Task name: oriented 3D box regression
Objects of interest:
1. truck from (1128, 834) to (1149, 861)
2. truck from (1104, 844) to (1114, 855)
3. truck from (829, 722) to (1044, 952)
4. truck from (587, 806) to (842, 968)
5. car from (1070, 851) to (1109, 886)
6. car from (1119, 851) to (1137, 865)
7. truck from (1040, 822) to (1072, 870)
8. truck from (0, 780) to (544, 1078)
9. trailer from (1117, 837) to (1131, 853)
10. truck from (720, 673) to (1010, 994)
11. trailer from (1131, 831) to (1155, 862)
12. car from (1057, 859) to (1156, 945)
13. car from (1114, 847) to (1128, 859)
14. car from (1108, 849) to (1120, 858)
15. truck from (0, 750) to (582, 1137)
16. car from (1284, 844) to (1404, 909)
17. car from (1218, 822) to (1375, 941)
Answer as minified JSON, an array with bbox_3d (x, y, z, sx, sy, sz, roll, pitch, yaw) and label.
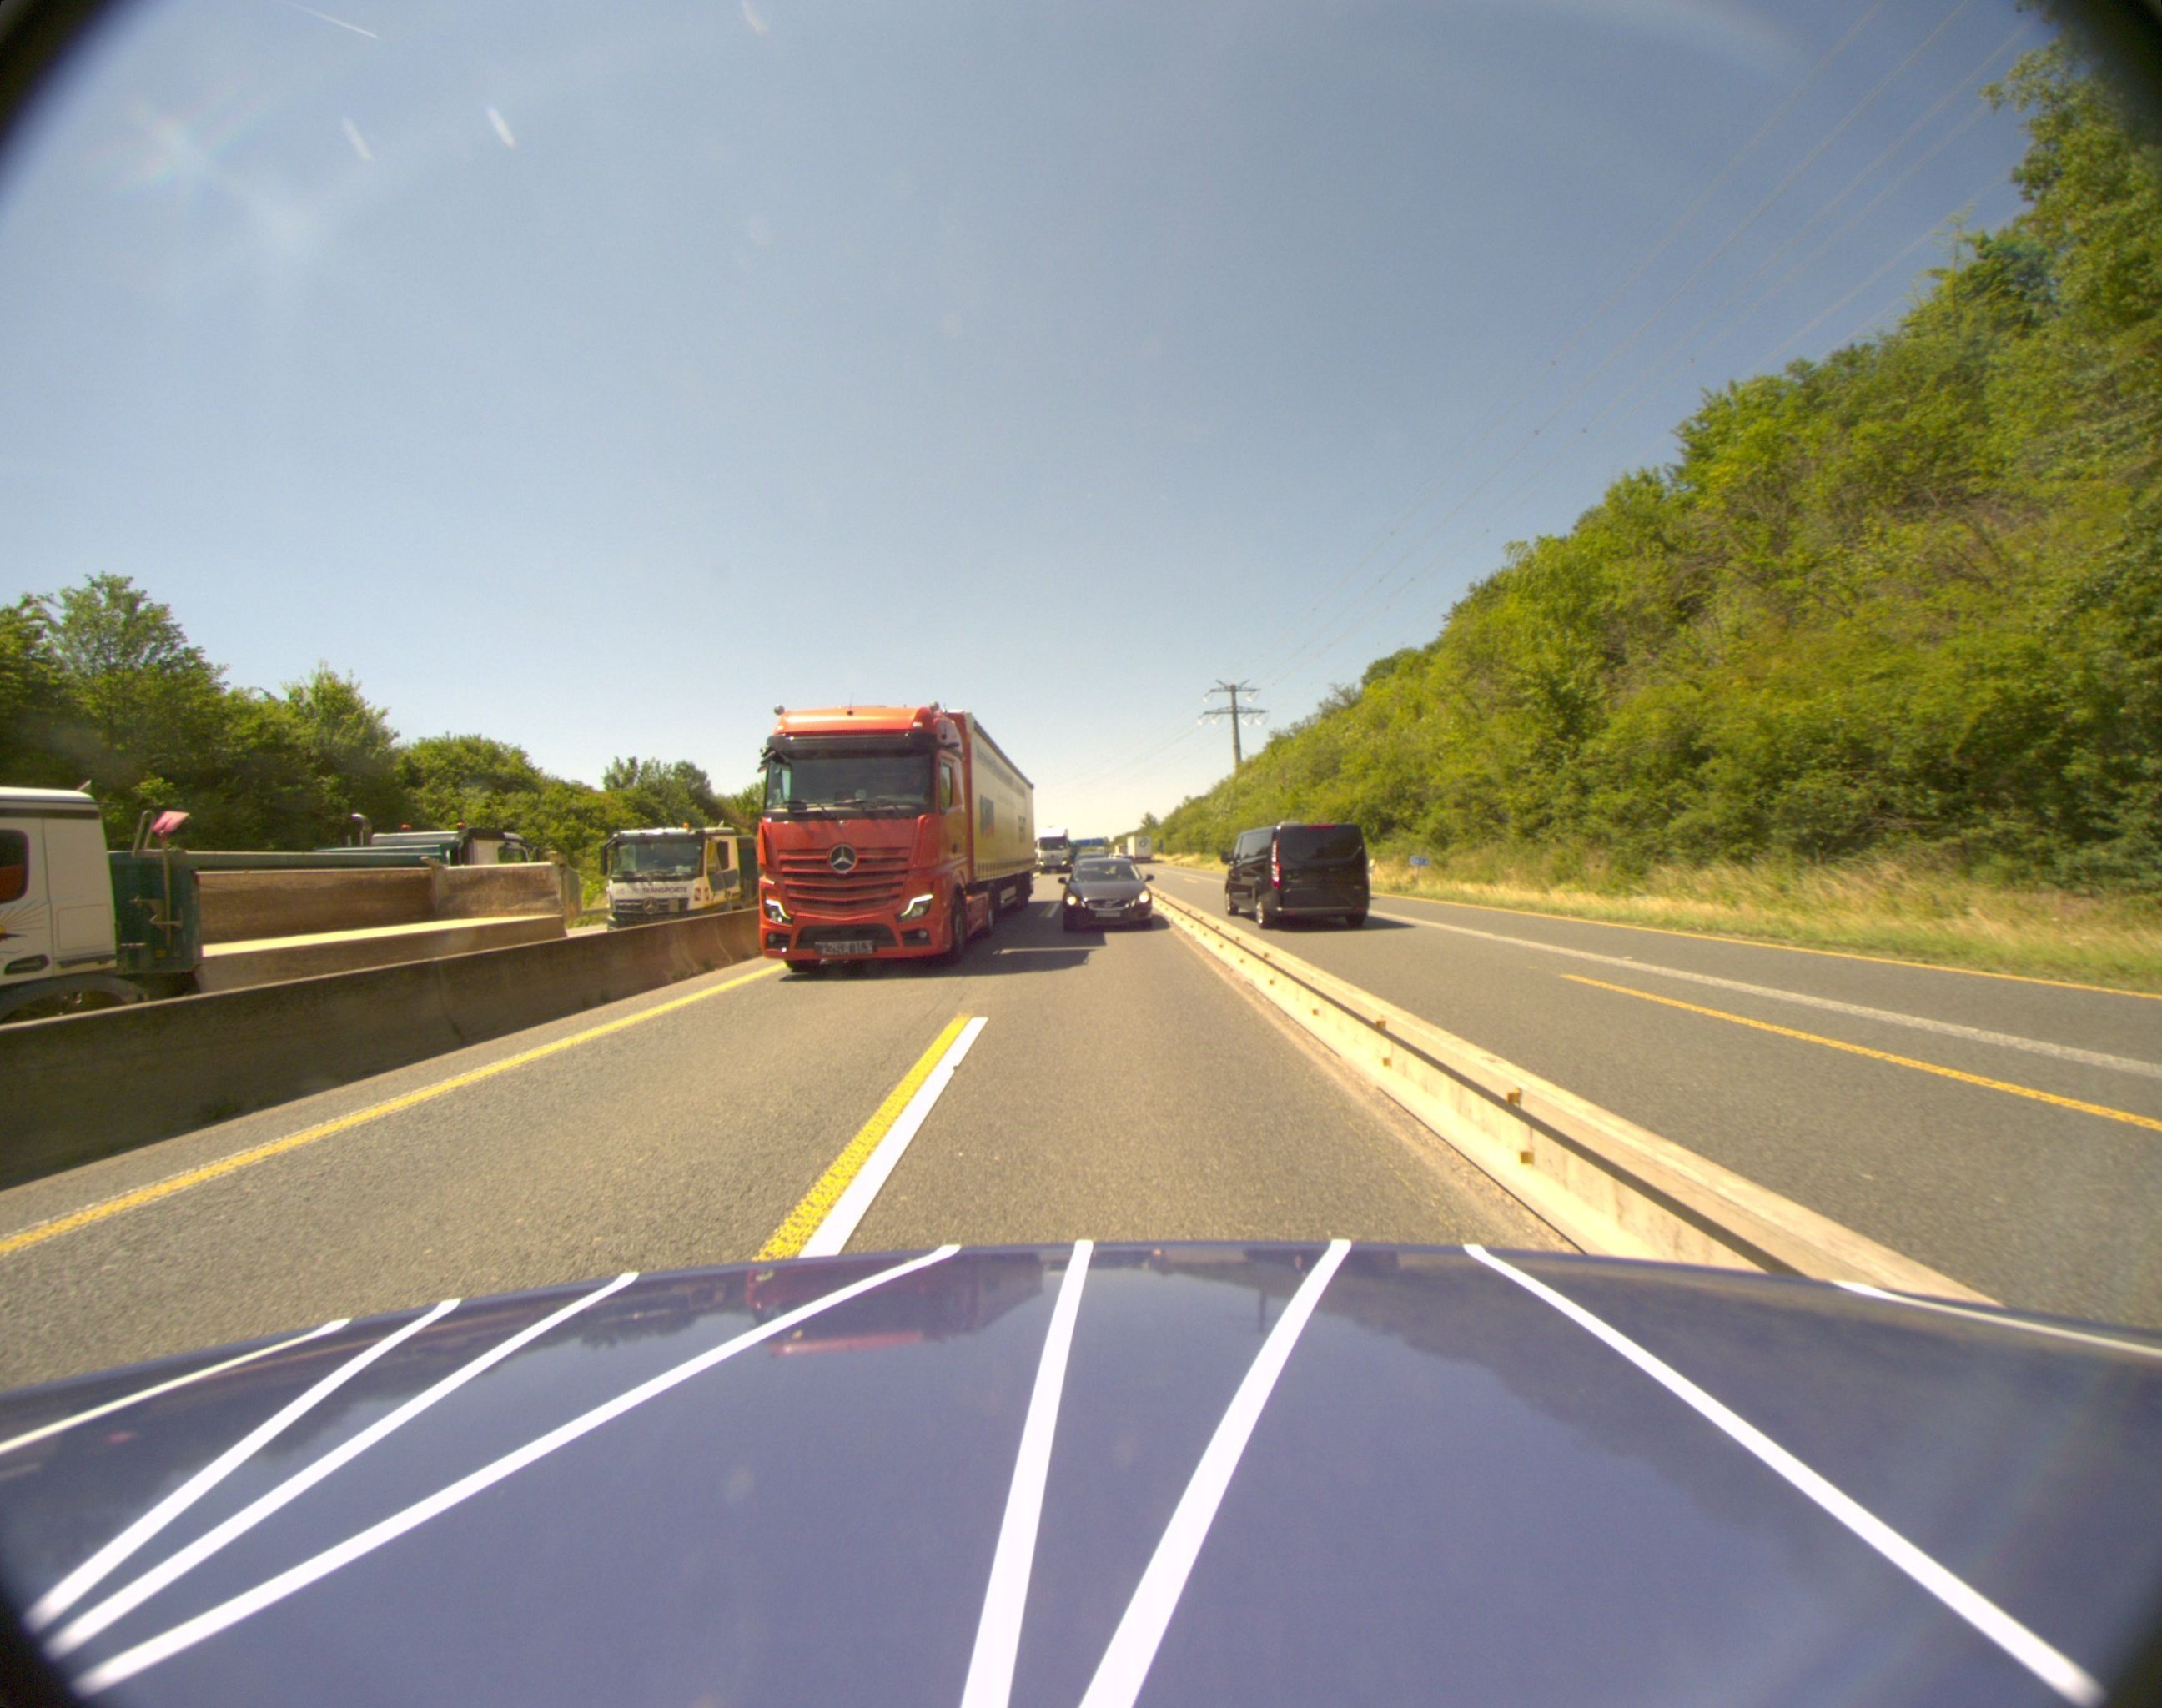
[{"bbox_3d":[9.000,-0.968,120.780,2.416,3.969,10.351,-3,0,0],"label":"truck"},{"bbox_3d":[8.978,-1.510,246.082,2.412,3.312,7.494,-3,3,-2],"label":"truck"},{"bbox_3d":[-2.886,-0.378,20.120,2.689,3.987,13.218,-2,1,1],"label":"truck"},{"bbox_3d":[-9.533,0.710,21.327,2.539,3.490,9.096,-2,0,0],"label":"truck"},{"bbox_3d":[0.444,0.675,38.268,1.767,1.523,4.699,-2,1,1],"label":"car"},{"bbox_3d":[5.191,0.384,83.984,1.717,1.417,4.169,-2,1,0],"label":"car"},{"bbox_3d":[-2.194,-0.701,70.929,2.481,4.030,13.109,-2,0,0],"label":"truck"},{"bbox_3d":[-13.694,0.916,13.106,2.694,3.490,8.379,-2,0,0],"label":"truck"},{"bbox_3d":[9.980,-2.094,175.868,2.657,3.317,8.919,-4,0,1],"label":"trailer"},{"bbox_3d":[-3.080,-0.284,13.068,2.689,3.987,6.725,-2,1,2],"label":"truck"},{"bbox_3d":[9.006,-1.045,111.354,2.644,4.287,8.447,-3,0,0],"label":"trailer"},{"bbox_3d":[0.519,0.901,16.274,1.767,1.411,4.699,-2,1,1],"label":"car"},{"bbox_3d":[5.755,-0.213,110.347,1.767,1.622,4.296,-2,1,0],"label":"car"},{"bbox_3d":[6.291,-0.098,144.829,1.829,1.621,4.149,-2,1,-1],"label":"car"},{"bbox_3d":[-11.021,0.834,10.191,2.539,3.490,8.943,-2,0,0],"label":"truck"},{"bbox_3d":[7.110,0.547,21.069,1.797,1.516,4.531,-3,0,1],"label":"car"},{"bbox_3d":[4.209,0.474,15.734,1.895,2.002,4.817,-3,0,1],"label":"car"}]
